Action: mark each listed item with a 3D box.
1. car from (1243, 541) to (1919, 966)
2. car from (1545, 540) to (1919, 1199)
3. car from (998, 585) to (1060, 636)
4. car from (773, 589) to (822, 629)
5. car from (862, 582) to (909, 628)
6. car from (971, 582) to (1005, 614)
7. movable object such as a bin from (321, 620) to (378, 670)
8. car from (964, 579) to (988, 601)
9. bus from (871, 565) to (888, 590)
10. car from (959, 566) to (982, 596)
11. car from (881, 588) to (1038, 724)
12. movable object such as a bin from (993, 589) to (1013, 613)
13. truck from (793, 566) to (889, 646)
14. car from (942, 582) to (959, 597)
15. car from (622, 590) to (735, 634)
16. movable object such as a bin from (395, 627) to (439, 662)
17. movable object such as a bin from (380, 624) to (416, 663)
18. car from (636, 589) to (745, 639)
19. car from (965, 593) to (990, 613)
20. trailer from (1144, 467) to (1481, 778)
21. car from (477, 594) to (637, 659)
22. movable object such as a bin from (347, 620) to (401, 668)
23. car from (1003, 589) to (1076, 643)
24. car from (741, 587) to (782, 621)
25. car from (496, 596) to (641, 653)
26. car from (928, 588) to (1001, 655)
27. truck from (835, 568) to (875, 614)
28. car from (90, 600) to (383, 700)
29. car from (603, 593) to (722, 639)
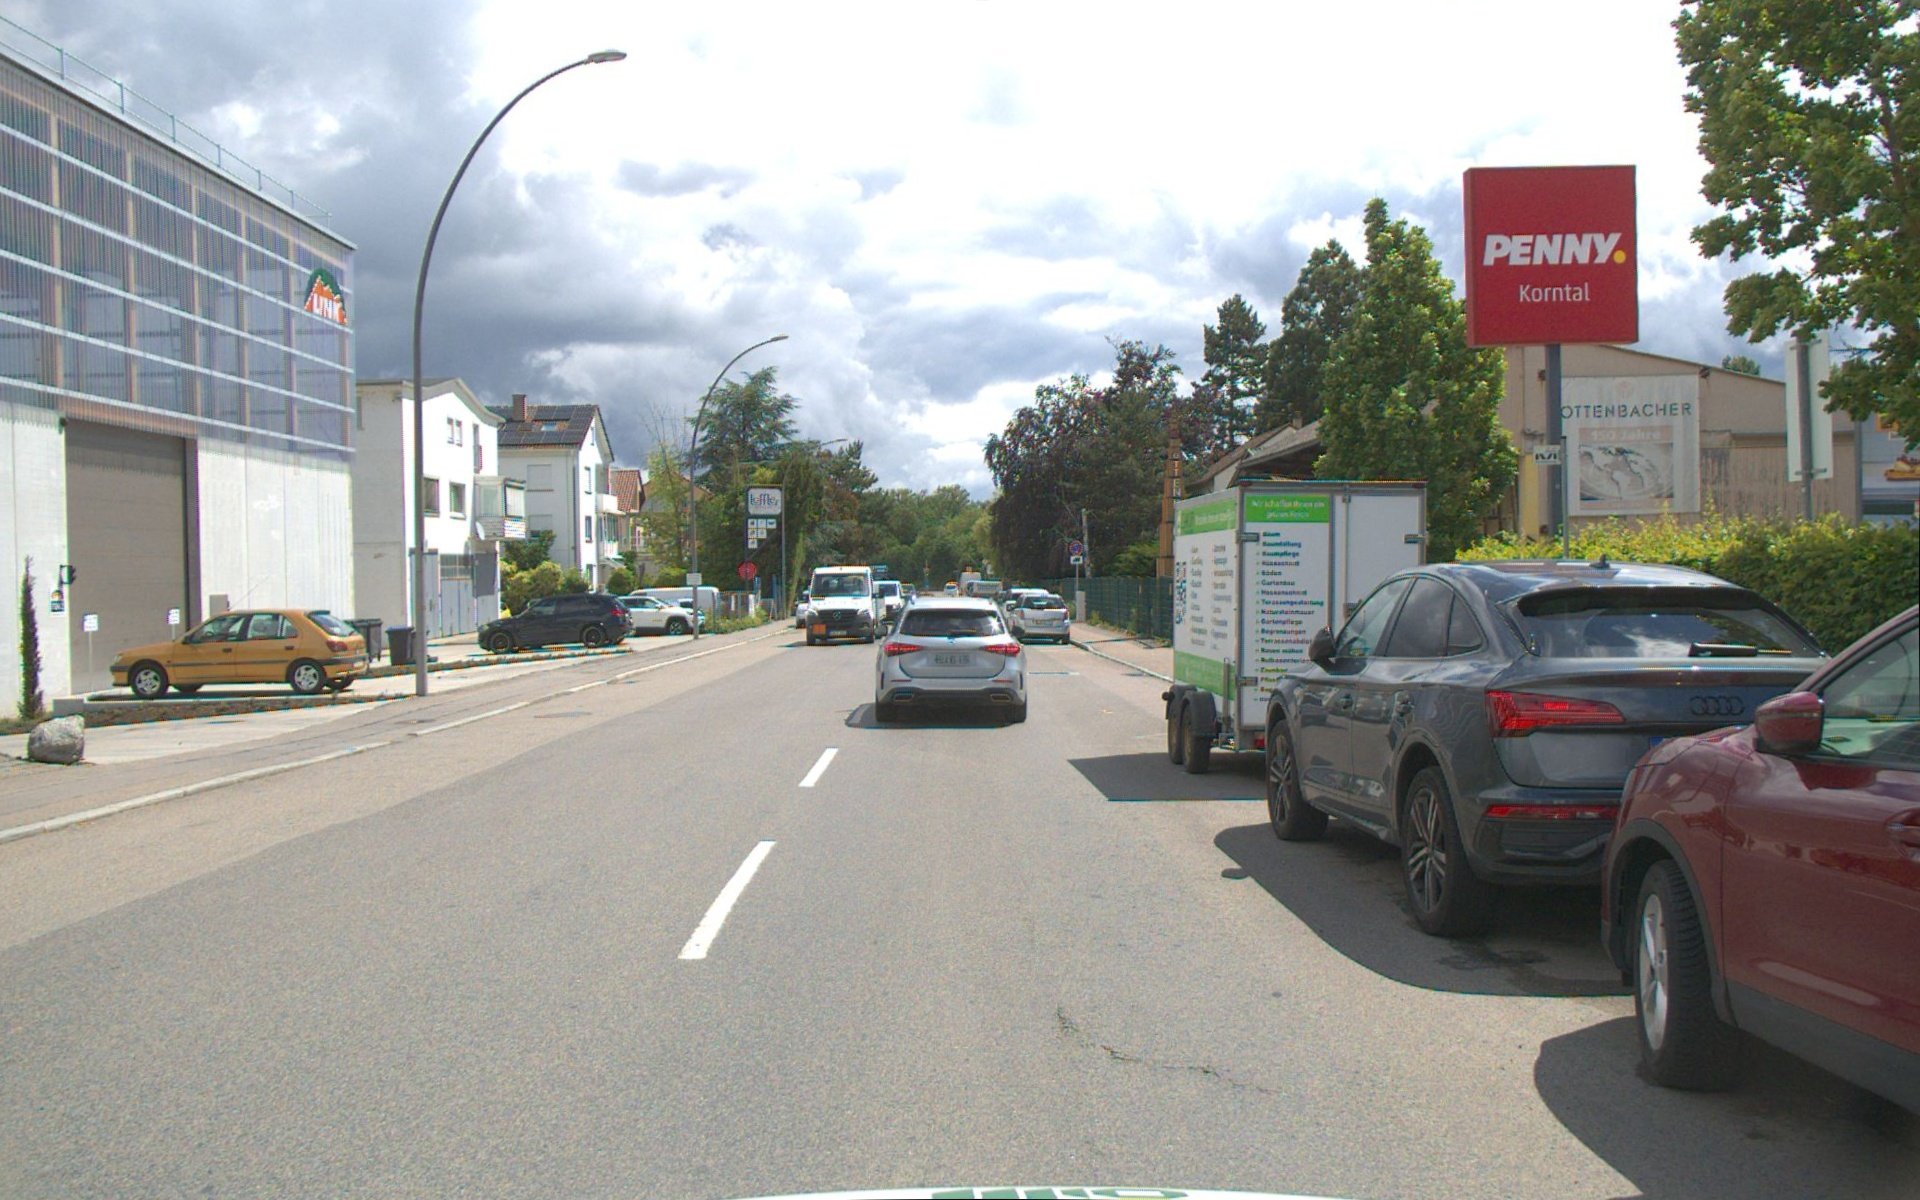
[{"bbox_3d":[2.925,0.563,8.659,1.903,1.598,4.443,-1,1,-3],"label":"car"},{"bbox_3d":[3.072,0.639,3.847,1.901,1.598,4.446,-1,1,1],"label":"car"},{"bbox_3d":[2.311,0.311,56.352,1.755,1.579,4.572,-2,1,-2],"label":"car"},{"bbox_3d":[-7.248,0.381,74.198,1.755,1.631,4.363,-2,1,-1],"label":"car"},{"bbox_3d":[-3.295,0.193,73.718,1.953,1.921,5.116,-1,1,-1],"label":"car"},{"bbox_3d":[1.835,-0.122,109.588,2.100,2.018,5.261,-1,0,0],"label":"car"},{"bbox_3d":[-18.025,1.314,48.859,0.937,1.379,1.818,-2,1,1],"label":"movable object such as a bin"},{"bbox_3d":[1.305,-0.773,134.779,1.749,1.745,4.314,0,0,-3],"label":"car"},{"bbox_3d":[-11.413,-3.192,233.965,1.955,3.423,6.974,1,1,-6],"label":"bus"},{"bbox_3d":[0.926,-1.671,147.116,1.749,2.562,4.314,0,0,-3],"label":"car"},{"bbox_3d":[-0.097,0.624,20.605,1.749,1.510,4.314,0,0,-3],"label":"car"},{"bbox_3d":[2.449,0.044,94.215,1.062,1.293,1.380,1,1,-1],"label":"movable object such as a bin"},{"bbox_3d":[-3.541,0.133,50.515,2.271,2.216,6.450,-2,1,1],"label":"truck"},{"bbox_3d":[-1.037,-1.122,173.089,1.720,1.585,3.999,-1,1,-2],"label":"car"},{"bbox_3d":[-11.264,0.500,66.281,4.193,1.594,1.990,-1,-3,-2],"label":"car"},{"bbox_3d":[-15.781,1.282,48.104,0.728,0.935,1.519,-2,1,1],"label":"movable object such as a bin"},{"bbox_3d":[-15.956,1.237,46.986,0.728,1.048,0.712,-2,0,1],"label":"movable object such as a bin"},{"bbox_3d":[-11.158,0.597,68.751,4.193,1.868,1.990,-1,-3,-2],"label":"car"},{"bbox_3d":[1.381,0.220,129.740,1.749,1.510,4.314,0,0,-3],"label":"car"},{"bbox_3d":[2.963,0.155,14.928,1.902,2.334,4.444,-1,0,-2],"label":"trailer"},{"bbox_3d":[-12.753,0.812,52.589,4.536,1.661,2.196,-4,1,-4],"label":"car"},{"bbox_3d":[-17.960,1.344,50.730,0.937,1.380,1.818,-2,1,1],"label":"movable object such as a bin"},{"bbox_3d":[2.396,0.454,50.612,1.756,1.475,4.361,-2,1,-3],"label":"car"},{"bbox_3d":[-10.430,0.195,87.113,1.954,1.686,3.996,-2,1,-5],"label":"car"},{"bbox_3d":[-12.978,0.789,55.067,4.374,1.531,1.824,-4,1,-4],"label":"car"},{"bbox_3d":[0.071,0.512,42.274,1.720,1.585,3.999,-1,1,-2],"label":"car"},{"bbox_3d":[-6.795,-0.616,107.754,2.032,2.863,7.078,-2,1,0],"label":"truck"},{"bbox_3d":[-12.004,0.809,27.660,4.068,1.518,1.824,1,1,-4],"label":"car"},{"bbox_3d":[-11.394,0.629,63.475,4.192,1.594,1.991,-1,-3,-1],"label":"car"}]
